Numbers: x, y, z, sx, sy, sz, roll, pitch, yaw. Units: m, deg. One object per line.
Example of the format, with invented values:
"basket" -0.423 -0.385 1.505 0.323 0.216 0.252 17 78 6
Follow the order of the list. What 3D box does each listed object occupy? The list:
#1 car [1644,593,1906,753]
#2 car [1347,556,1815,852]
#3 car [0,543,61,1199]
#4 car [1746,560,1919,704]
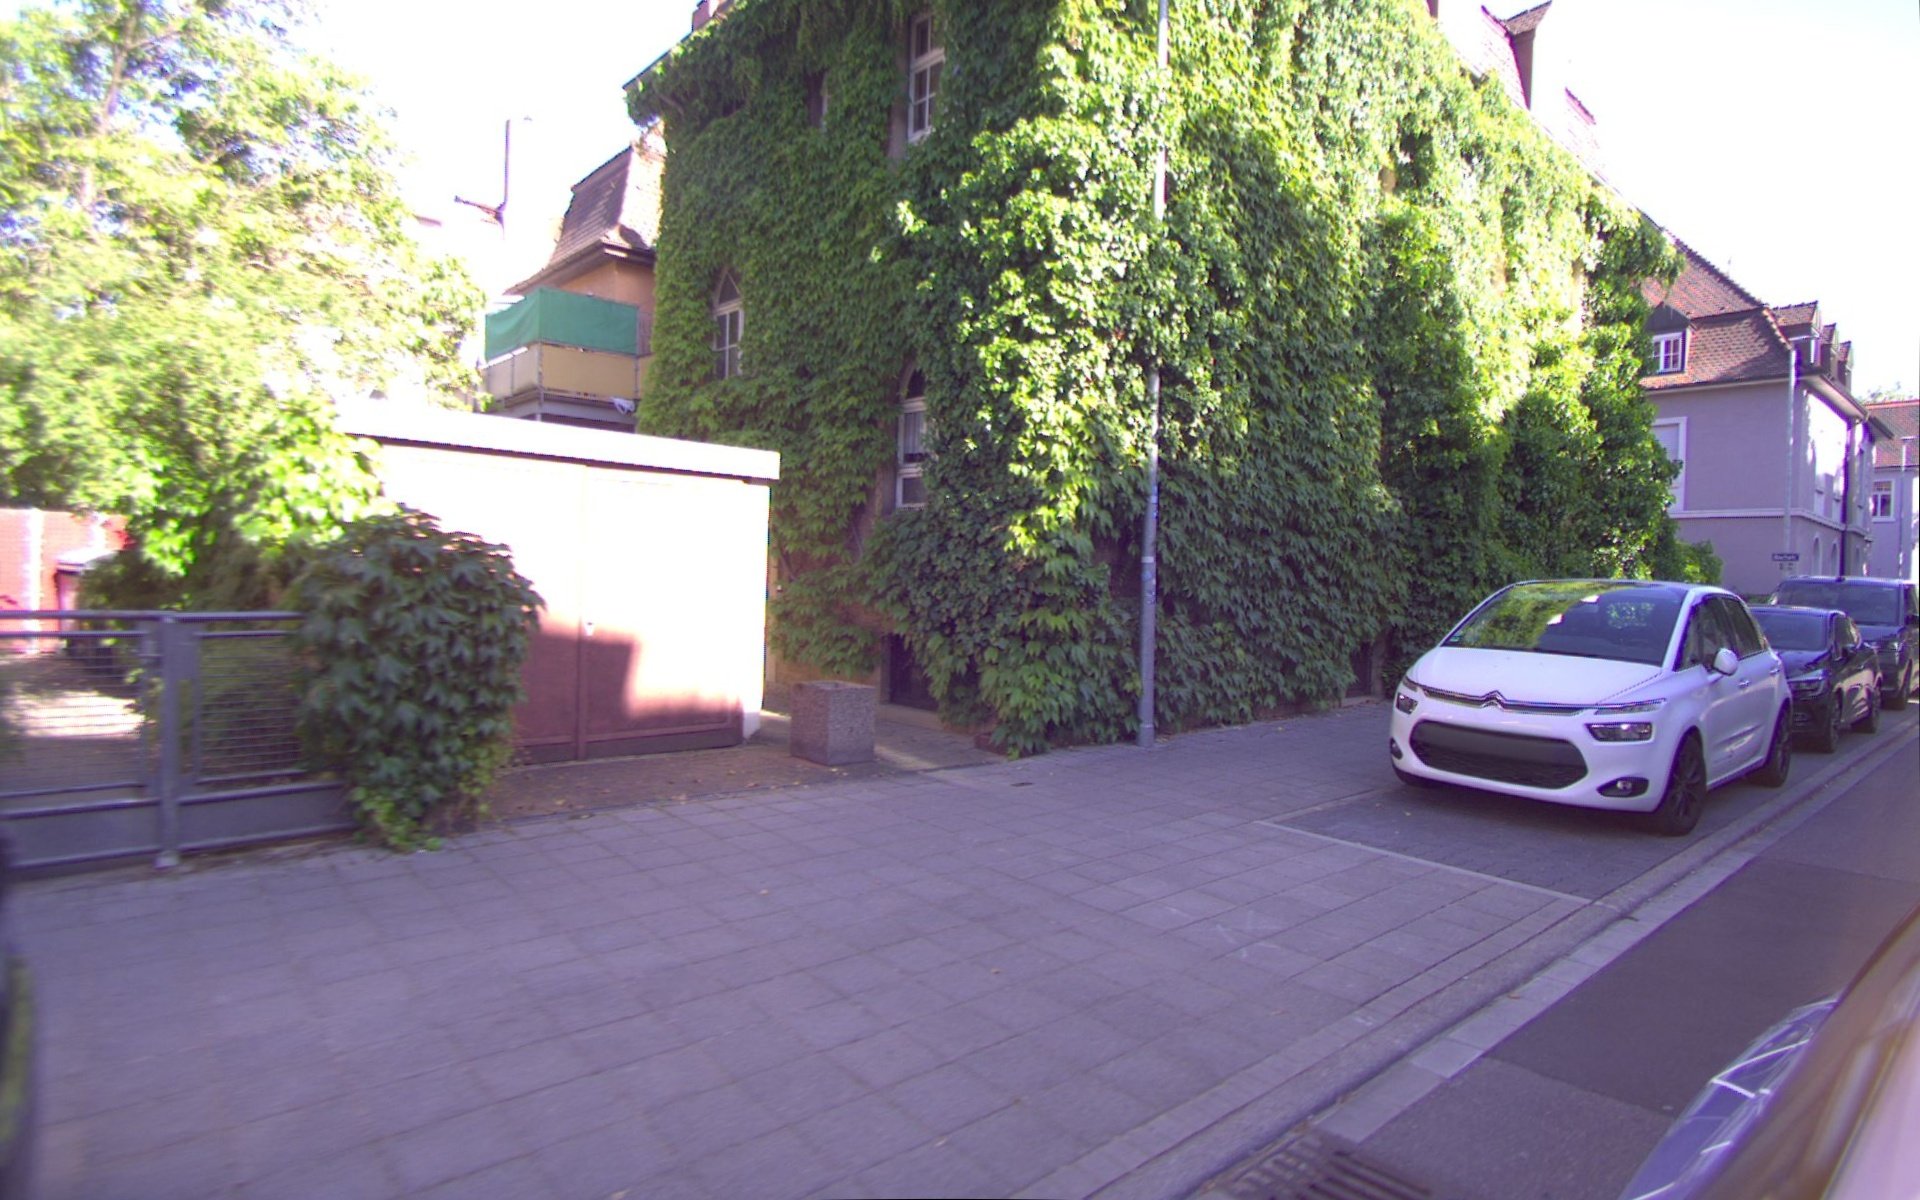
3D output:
"car" 9.245 0.685 11.364 3.939 1.439 1.640 0 2 -42
"car" 4.930 0.566 7.799 4.125 1.665 1.871 0 2 -41
"car" -3.331 0.647 0.388 4.424 1.472 1.646 0 1 -41
"car" 14.097 0.412 15.894 4.766 1.932 1.856 0 1 -41
